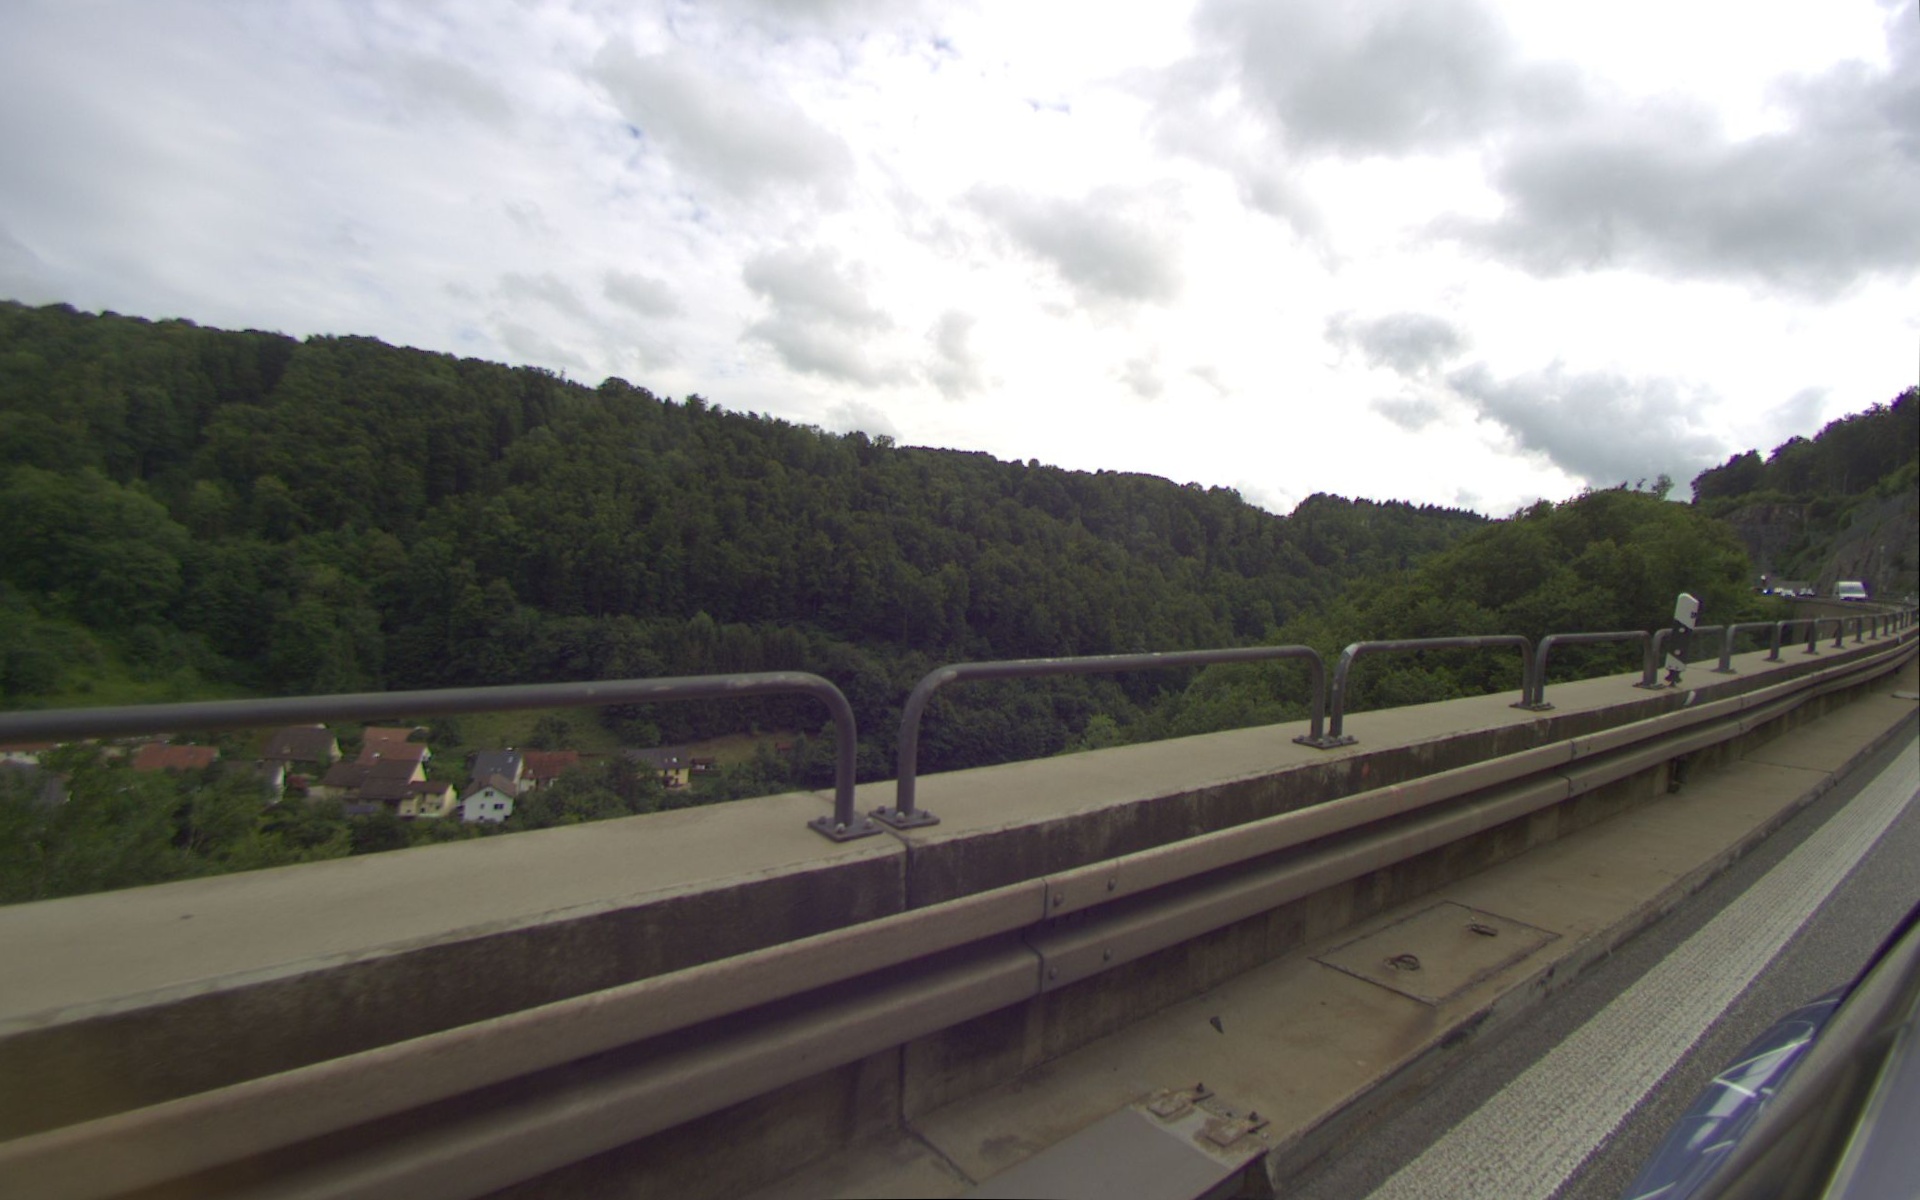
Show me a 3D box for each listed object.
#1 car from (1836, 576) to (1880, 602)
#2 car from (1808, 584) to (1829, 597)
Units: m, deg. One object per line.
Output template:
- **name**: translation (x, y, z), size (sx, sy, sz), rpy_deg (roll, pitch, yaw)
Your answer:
- **car**: translation (87.676, -1.119, 98.881), size (2.660, 2.453, 6.042), rpy_deg (1, 1, 36)
- **car**: translation (137.280, -1.555, 161.841), size (1.986, 2.039, 3.953), rpy_deg (1, 1, 33)
